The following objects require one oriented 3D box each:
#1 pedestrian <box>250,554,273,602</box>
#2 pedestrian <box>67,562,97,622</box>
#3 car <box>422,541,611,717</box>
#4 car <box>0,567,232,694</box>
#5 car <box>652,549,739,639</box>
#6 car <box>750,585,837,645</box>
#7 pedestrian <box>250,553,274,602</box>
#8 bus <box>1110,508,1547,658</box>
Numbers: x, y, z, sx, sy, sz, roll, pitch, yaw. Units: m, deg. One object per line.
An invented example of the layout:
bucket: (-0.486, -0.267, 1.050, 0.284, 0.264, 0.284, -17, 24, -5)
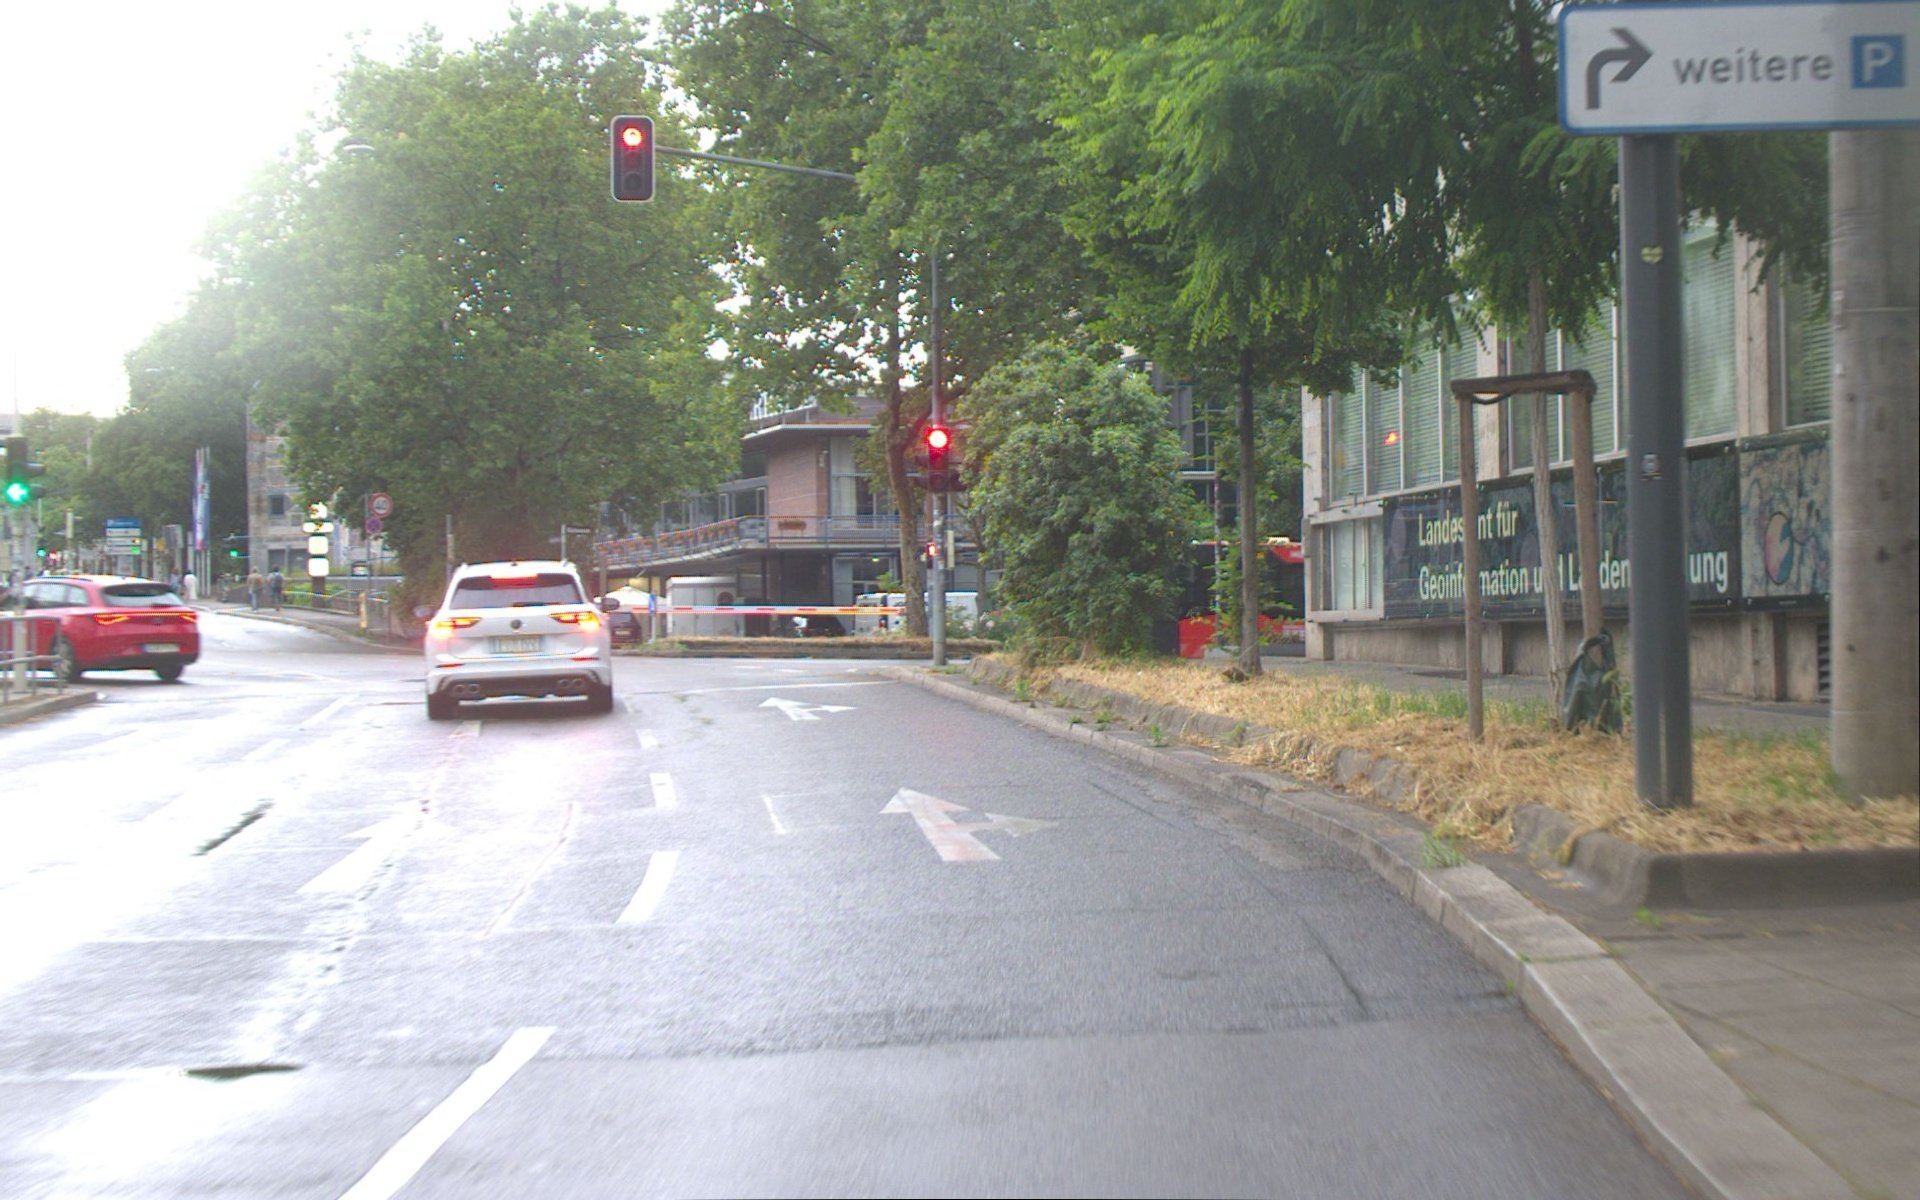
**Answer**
pedestrian: (-26.592, -0.845, 130.833, 0.756, 1.817, 0.701, 1, -1, -18)
pedestrian: (-24.113, -0.216, 94.430, 0.737, 1.634, 0.871, 1, -1, -12)
car: (-4.262, 0.230, 33.537, 1.678, 1.571, 4.254, -1, 1, -6)
car: (-11.917, 0.401, 46.820, 1.981, 1.634, 4.415, 2, -1, -41)
car: (-9.591, -0.201, 124.109, 2.544, 3.123, 5.032, 1, -1, -11)
car: (-5.764, 0.527, 118.360, 1.993, 2.007, 4.001, 1, -1, -17)
pedestrian: (-26.405, -0.849, 130.056, 0.756, 1.817, 0.701, 1, -1, -18)
bus: (8.254, -0.339, 76.846, 9.421, 3.100, 2.559, 1, -1, -17)
